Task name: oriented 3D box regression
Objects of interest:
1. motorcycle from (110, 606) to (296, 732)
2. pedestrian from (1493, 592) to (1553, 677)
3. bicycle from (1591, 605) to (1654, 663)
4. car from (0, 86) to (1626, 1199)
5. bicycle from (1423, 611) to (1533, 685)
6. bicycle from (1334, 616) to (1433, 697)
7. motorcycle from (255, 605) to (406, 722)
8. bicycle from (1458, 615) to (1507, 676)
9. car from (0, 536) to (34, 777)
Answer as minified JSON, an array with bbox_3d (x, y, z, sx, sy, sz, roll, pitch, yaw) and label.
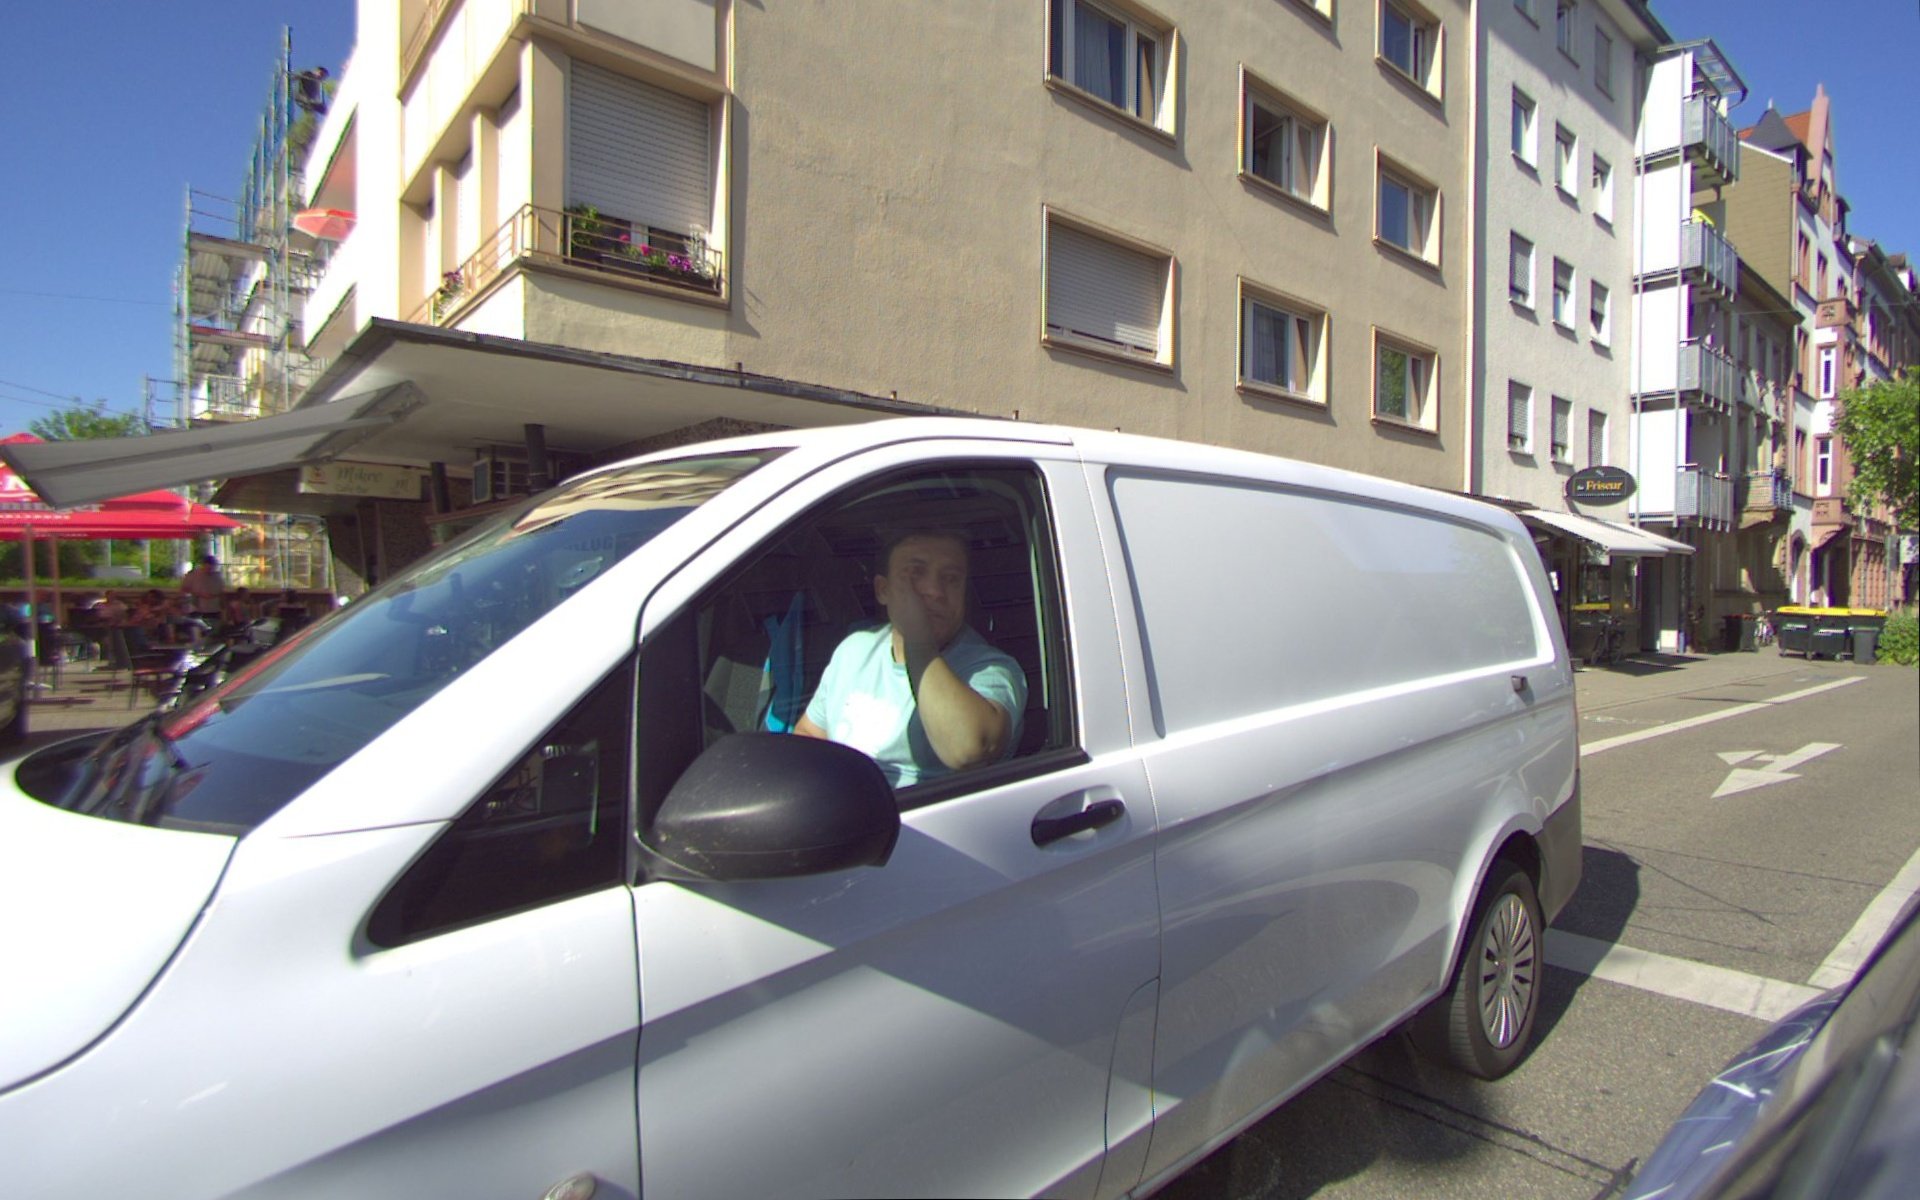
[{"bbox_3d":[-8.008,0.678,10.824,0.556,1.181,2.015,1,1,-3],"label":"motorcycle"},{"bbox_3d":[9.988,0.594,17.952,0.615,1.460,0.774,0,0,-45],"label":"pedestrian"},{"bbox_3d":[14.147,0.706,21.586,1.742,1.157,0.598,0,3,-40],"label":"bicycle"},{"bbox_3d":[-0.057,0.483,2.749,4.749,1.833,1.971,-1,1,-42],"label":"car"},{"bbox_3d":[8.415,0.762,16.492,1.475,1.120,0.719,1,0,18],"label":"bicycle"},{"bbox_3d":[6.197,0.795,14.765,1.766,1.098,0.408,0,3,-35],"label":"bicycle"},{"bbox_3d":[-7.098,0.667,11.535,0.556,1.181,2.015,1,1,-3],"label":"motorcycle"},{"bbox_3d":[9.126,0.778,17.668,1.155,0.995,0.376,0,0,-43],"label":"bicycle"},{"bbox_3d":[-7.954,0.382,7.188,1.793,1.683,3.996,0,1,-39],"label":"car"}]
